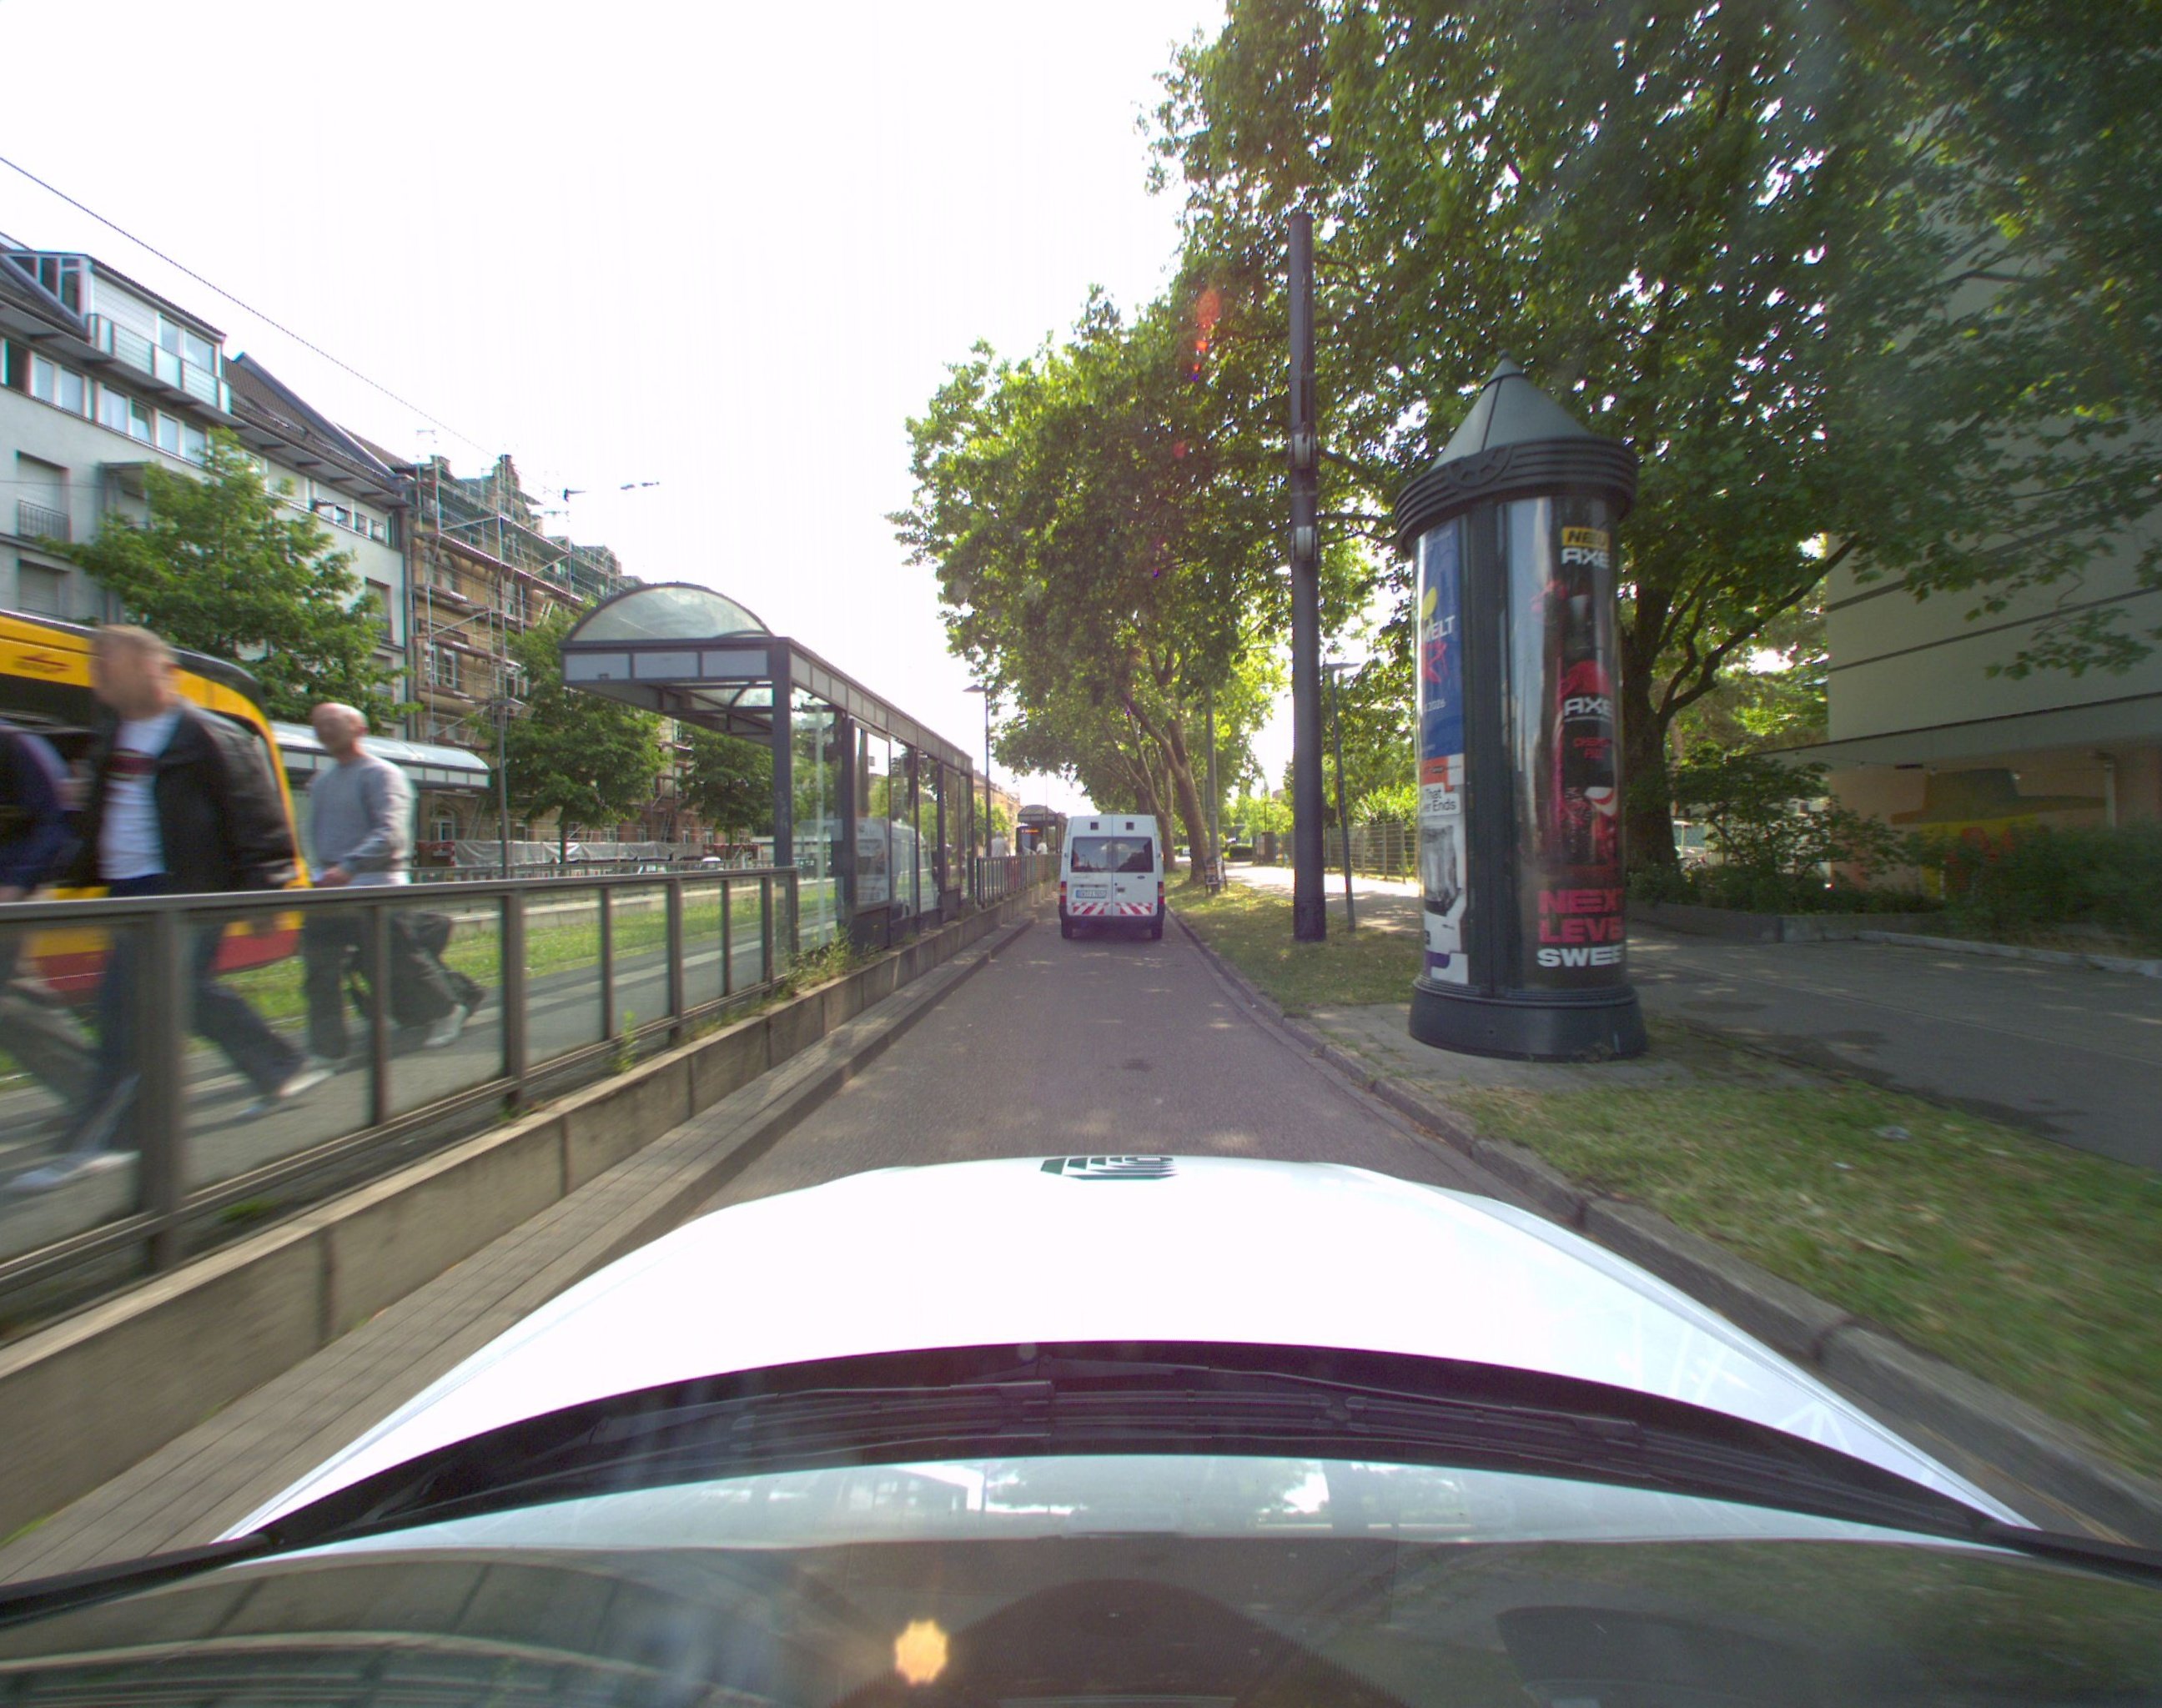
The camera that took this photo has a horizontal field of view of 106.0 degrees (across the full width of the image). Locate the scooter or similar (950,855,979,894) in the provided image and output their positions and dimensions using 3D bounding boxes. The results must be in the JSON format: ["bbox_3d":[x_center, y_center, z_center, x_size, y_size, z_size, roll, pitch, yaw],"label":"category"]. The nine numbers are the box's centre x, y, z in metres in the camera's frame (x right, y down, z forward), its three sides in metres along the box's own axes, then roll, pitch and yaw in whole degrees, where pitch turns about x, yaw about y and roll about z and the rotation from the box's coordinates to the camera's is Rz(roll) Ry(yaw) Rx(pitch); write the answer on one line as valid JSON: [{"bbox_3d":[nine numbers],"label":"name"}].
[{"bbox_3d":[-2.952,0.513,20.616,0.630,0.956,0.421,-1,0,1],"label":"scooter or similar"}]

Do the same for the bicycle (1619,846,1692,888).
[{"bbox_3d":[15.812,0.336,22.472,0.514,1.084,1.953,-1,0,-4],"label":"bicycle"}]

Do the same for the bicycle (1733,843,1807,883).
[{"bbox_3d":[19.214,0.249,22.747,0.514,1.065,1.724,-1,0,-4],"label":"bicycle"}]

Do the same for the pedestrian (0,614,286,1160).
[{"bbox_3d":[-3.909,0.109,3.046,0.709,1.801,1.133,-1,0,2],"label":"pedestrian"}]

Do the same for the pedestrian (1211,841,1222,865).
[{"bbox_3d":[9.507,-0.088,57.104,0.691,1.625,0.637,-1,0,1],"label":"pedestrian"}]

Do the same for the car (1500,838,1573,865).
[{"bbox_3d":[24.549,-0.143,44.027,1.800,1.402,4.049,-1,0,2],"label":"car"}]

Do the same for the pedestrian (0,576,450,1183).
[{"bbox_3d":[-3.185,0.078,3.041,0.807,1.872,1.031,-1,0,1],"label":"pedestrian"}]

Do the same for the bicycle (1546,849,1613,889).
[{"bbox_3d":[13.973,0.404,22.895,0.605,1.073,1.835,-1,0,-6],"label":"bicycle"}]

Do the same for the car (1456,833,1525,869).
[{"bbox_3d":[21.976,-0.184,43.869,1.799,1.815,4.344,-1,0,4],"label":"car"}]

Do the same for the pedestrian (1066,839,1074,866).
[{"bbox_3d":[-0.630,-0.088,46.896,0.384,1.591,0.439,-1,0,1],"label":"pedestrian"}]

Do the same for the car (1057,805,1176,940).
[{"bbox_3d":[0.696,0.300,16.652,2.039,2.333,4.716,-1,1,2],"label":"car"}]

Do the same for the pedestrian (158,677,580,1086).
[{"bbox_3d":[-3.617,0.119,4.355,0.883,1.801,1.495,-1,0,2],"label":"pedestrian"}]

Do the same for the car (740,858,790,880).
[{"bbox_3d":[-20.985,0.978,54.224,1.712,1.371,3.707,-1,0,2],"label":"car"}]

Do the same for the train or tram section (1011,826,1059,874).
[{"bbox_3d":[-3.623,-0.332,67.613,2.713,3.584,13.024,-1,0,2],"label":"train or tram section"}]

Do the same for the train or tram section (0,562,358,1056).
[{"bbox_3d":[-9.362,-0.301,2.215,2.713,3.584,13.024,-1,0,2],"label":"train or tram section"}]

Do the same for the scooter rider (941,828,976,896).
[{"bbox_3d":[-2.983,0.191,19.933,0.652,1.614,0.901,-1,0,2],"label":"scooter rider"}]

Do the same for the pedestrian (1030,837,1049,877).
[{"bbox_3d":[-1.626,0.119,31.877,0.673,1.515,0.596,-1,0,1],"label":"pedestrian"}]

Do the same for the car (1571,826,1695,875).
[{"bbox_3d":[21.775,-0.140,32.410,1.731,1.755,4.772,-1,0,0],"label":"car"}]

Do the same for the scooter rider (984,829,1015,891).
[{"bbox_3d":[-2.099,0.151,21.130,0.652,1.570,0.901,-1,0,2],"label":"scooter rider"}]

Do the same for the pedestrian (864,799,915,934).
[{"bbox_3d":[-2.387,0.149,10.178,0.468,1.641,0.537,-1,0,1],"label":"pedestrian"}]

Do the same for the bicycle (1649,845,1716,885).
[{"bbox_3d":[16.812,0.280,22.823,0.514,1.065,1.724,-1,0,-4],"label":"bicycle"}]
